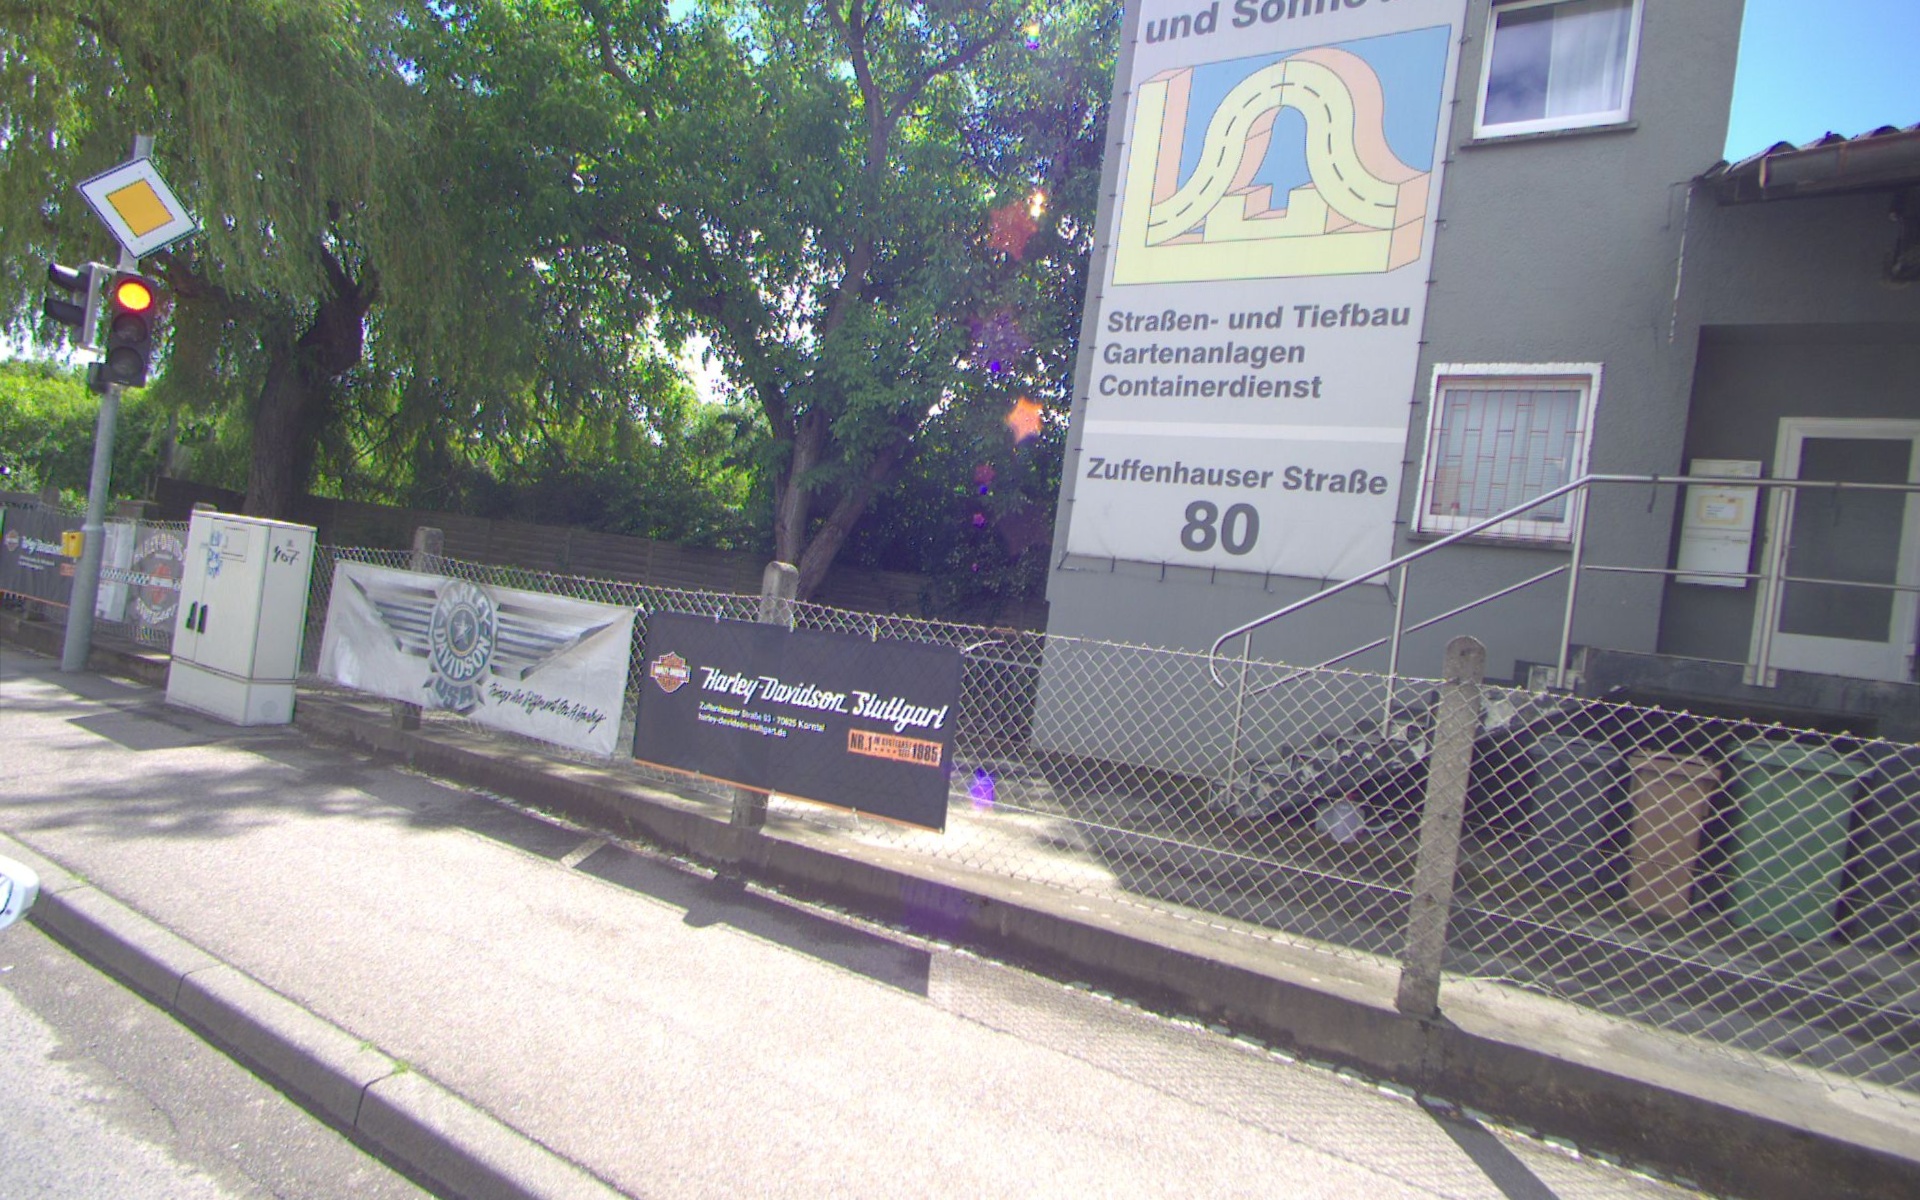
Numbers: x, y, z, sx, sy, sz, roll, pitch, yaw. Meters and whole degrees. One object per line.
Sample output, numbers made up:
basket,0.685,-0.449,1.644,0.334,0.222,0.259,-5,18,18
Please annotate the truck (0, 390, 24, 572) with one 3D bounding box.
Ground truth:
truck,-22.895,-2.916,17.231,9.663,3.581,2.816,9,-2,-42
